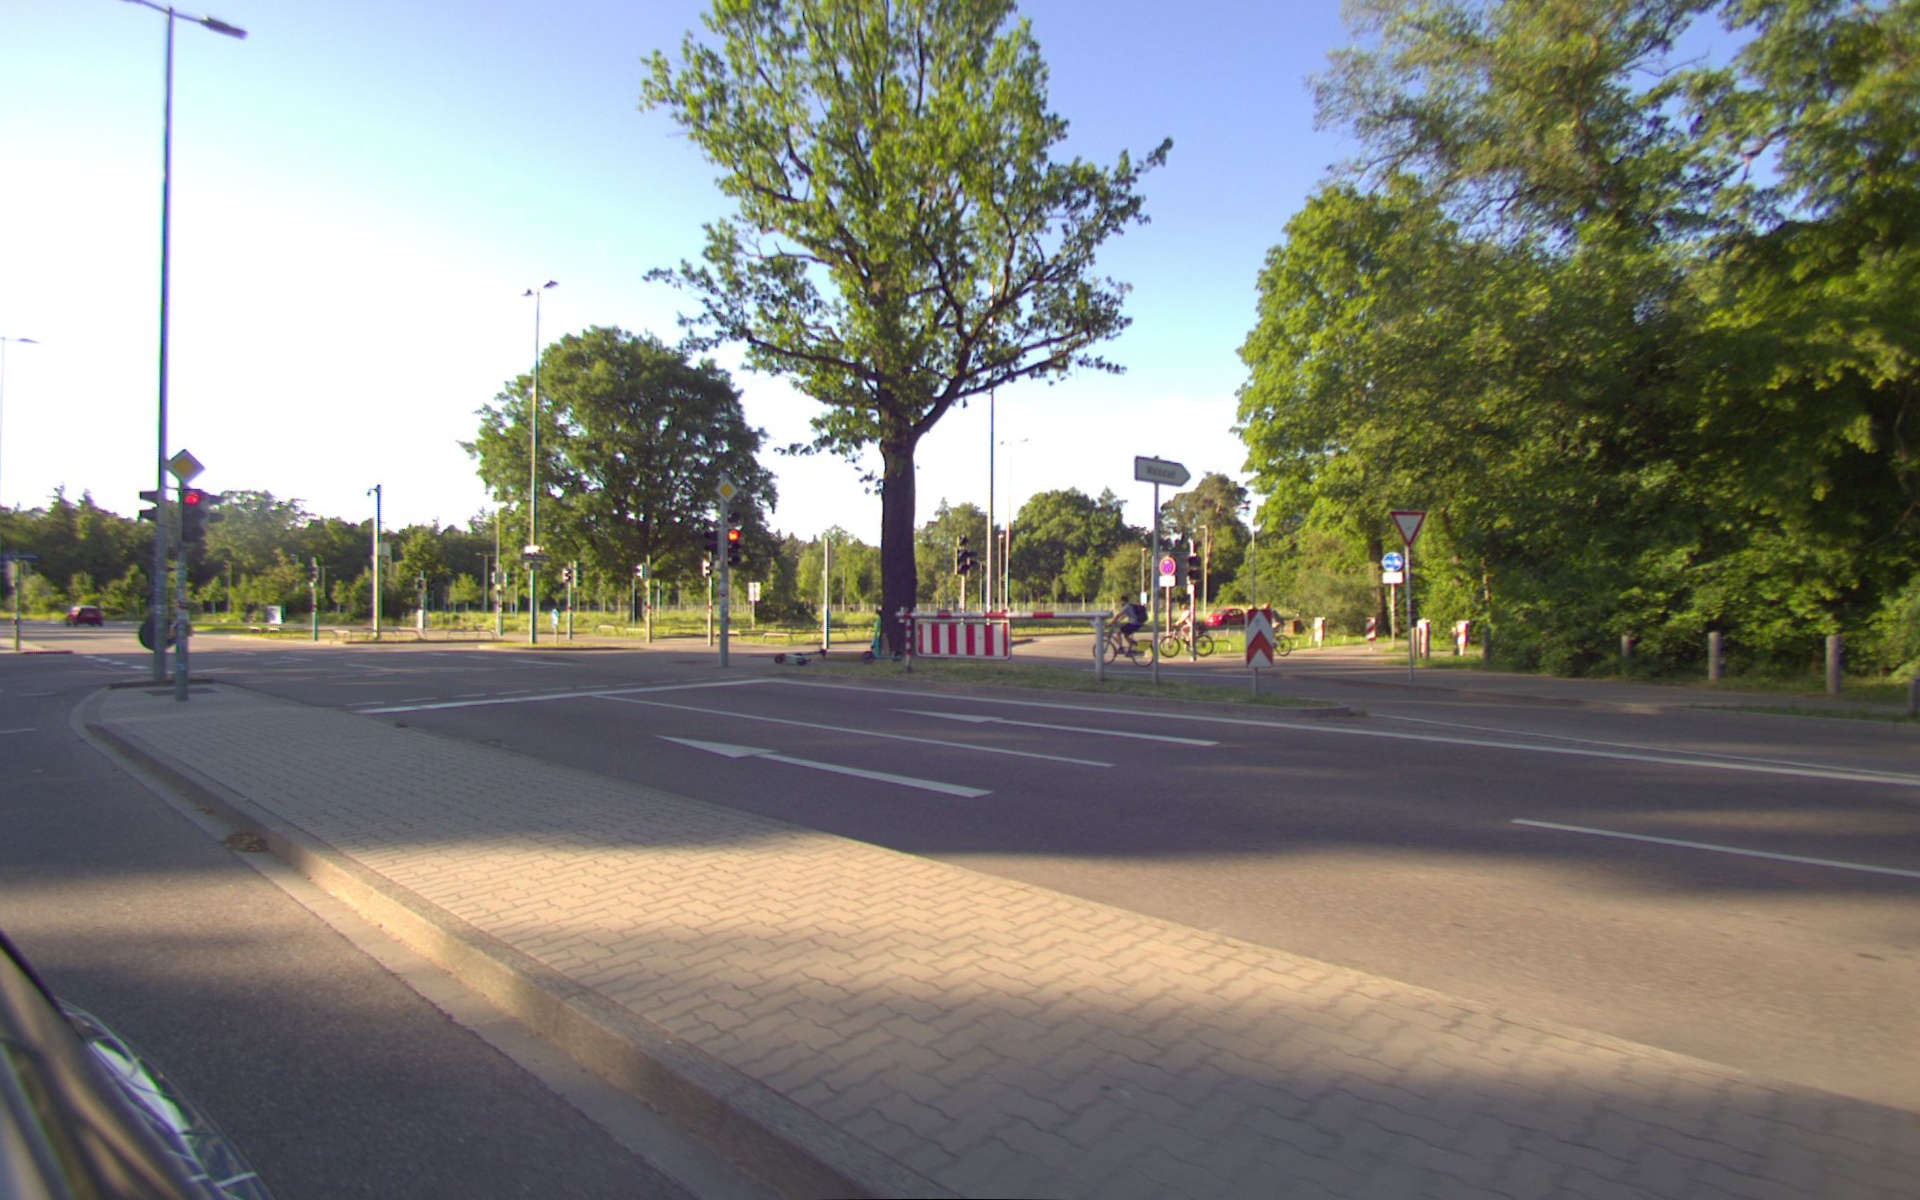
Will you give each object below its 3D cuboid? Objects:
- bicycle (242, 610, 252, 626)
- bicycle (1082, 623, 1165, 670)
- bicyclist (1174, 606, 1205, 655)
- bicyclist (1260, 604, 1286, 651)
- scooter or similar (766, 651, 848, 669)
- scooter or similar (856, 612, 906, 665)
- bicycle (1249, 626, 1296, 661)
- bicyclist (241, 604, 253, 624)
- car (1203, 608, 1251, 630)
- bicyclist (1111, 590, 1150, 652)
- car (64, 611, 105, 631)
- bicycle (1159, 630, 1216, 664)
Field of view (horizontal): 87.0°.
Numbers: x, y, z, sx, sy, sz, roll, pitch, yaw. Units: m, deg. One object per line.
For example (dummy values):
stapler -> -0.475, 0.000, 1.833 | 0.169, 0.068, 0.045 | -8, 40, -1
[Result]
bicycle -> -59.121, 1.499, 83.885 | 0.487, 1.247, 1.797 | -1, 1, -41
bicycle -> 4.253, 1.214, 26.384 | 1.977, 1.163, 0.675 | -3, -2, 31
bicyclist -> 7.254, 0.952, 32.000 | 0.789, 1.494, 0.730 | -1, 0, -1
bicyclist -> 9.543, 0.839, 30.876 | 0.520, 1.411, 0.520 | -1, 0, -23
scooter or similar -> -3.461, 1.343, 22.902 | 1.389, 0.342, 1.262 | 0, -2, -39
scooter or similar -> -1.751, 0.845, 22.409 | 1.053, 1.155, 0.395 | 0, -2, -39
bicycle -> 9.538, 1.324, 30.879 | 1.332, 0.984, 0.524 | -1, 0, -23
bicyclist -> -59.109, 1.125, 83.914 | 0.672, 1.623, 0.801 | -1, 1, -40
car -> 20.491, 1.457, 77.586 | 3.939, 1.521, 1.659 | -2, 1, -42
bicyclist -> 4.431, 0.548, 26.262 | 0.797, 1.563, 0.558 | -3, -2, 30
car -> -71.697, 1.718, 82.823 | 4.570, 1.565, 1.867 | -1, 1, 40
bicycle -> 7.189, 1.475, 32.009 | 1.567, 0.984, 0.785 | -1, 0, -1
